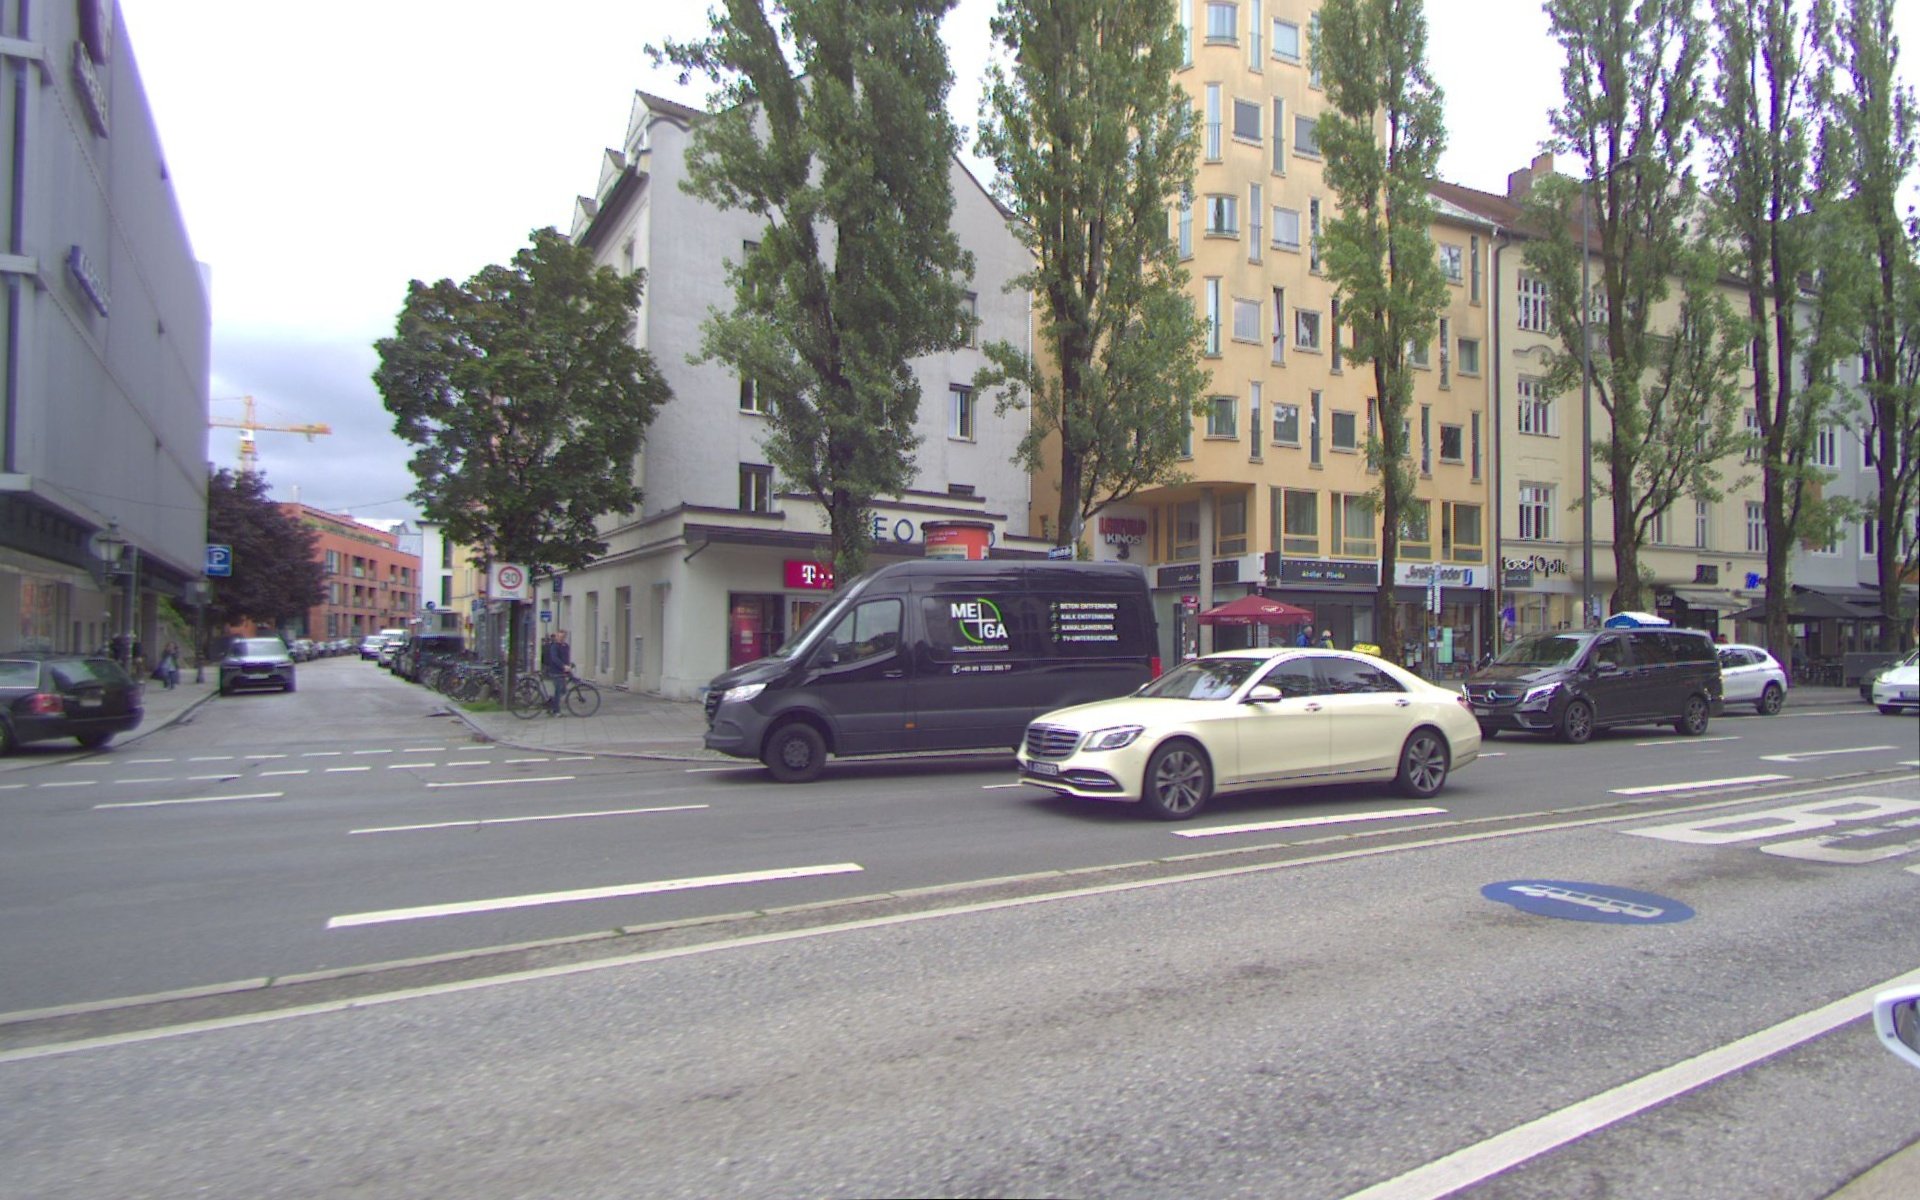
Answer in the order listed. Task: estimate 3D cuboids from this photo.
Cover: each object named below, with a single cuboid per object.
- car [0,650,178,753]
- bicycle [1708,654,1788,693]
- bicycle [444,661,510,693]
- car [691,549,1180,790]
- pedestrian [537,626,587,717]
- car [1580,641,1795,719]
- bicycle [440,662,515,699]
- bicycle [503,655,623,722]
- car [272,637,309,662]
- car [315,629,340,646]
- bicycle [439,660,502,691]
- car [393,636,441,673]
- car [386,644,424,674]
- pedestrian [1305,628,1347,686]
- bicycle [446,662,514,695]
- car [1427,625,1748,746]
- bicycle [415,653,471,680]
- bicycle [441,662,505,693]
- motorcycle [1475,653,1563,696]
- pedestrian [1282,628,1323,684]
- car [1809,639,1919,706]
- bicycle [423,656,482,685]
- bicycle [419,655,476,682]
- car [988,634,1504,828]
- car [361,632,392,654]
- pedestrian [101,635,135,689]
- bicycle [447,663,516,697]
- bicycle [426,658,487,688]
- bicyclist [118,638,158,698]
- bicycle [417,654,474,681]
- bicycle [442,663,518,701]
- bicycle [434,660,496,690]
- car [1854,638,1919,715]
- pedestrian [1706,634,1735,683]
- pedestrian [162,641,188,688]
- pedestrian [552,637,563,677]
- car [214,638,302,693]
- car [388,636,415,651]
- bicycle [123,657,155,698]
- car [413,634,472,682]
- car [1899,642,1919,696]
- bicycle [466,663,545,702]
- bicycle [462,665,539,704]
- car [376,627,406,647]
[{"bbox_3d":[-15.032,1.525,15.604,4.416,1.458,1.930,0,-2,6],"label":"car"},{"bbox_3d":[24.143,2.236,30.822,0.496,1.115,2.129,0,-3,-10],"label":"bicycle"},{"bbox_3d":[-15.271,2.419,31.778,1.859,0.976,0.456,1,-2,-31],"label":"bicycle"},{"bbox_3d":[-0.320,0.838,13.031,5.970,2.639,2.168,1,-2,-19],"label":"car"},{"bbox_3d":[-8.625,1.531,21.764,0.824,1.923,0.852,1,-3,-33],"label":"pedestrian"},{"bbox_3d":[16.662,1.779,23.034,4.317,1.650,1.990,1,-3,-22],"label":"car"},{"bbox_3d":[-13.614,2.253,28.355,1.859,0.976,0.456,1,-2,-31],"label":"bicycle"},{"bbox_3d":[-8.298,1.819,21.020,2.274,1.325,0.843,1,-3,-28],"label":"bicycle"},{"bbox_3d":[-46.331,3.405,69.564,1.830,1.684,4.204,1,-2,-30],"label":"car"},{"bbox_3d":[-60.923,3.619,96.832,1.830,1.684,4.204,1,-2,-30],"label":"car"},{"bbox_3d":[-16.357,2.525,33.613,1.859,0.976,0.456,1,-2,-31],"label":"bicycle"},{"bbox_3d":[-27.472,2.724,50.754,1.977,1.752,4.204,1,-2,-30],"label":"car"},{"bbox_3d":[-34.903,3.669,63.104,1.977,1.843,4.204,1,-2,-30],"label":"car"},{"bbox_3d":[10.707,1.667,29.378,0.753,1.647,0.837,2,-1,-25],"label":"pedestrian"},{"bbox_3d":[-14.832,2.417,31.063,1.859,0.976,0.456,1,-2,-31],"label":"bicycle"},{"bbox_3d":[11.162,1.453,17.815,5.632,1.887,1.989,1,-4,-24],"label":"car"},{"bbox_3d":[-19.776,2.527,38.419,1.859,0.976,0.456,1,-2,-31],"label":"bicycle"},{"bbox_3d":[-15.870,2.521,32.760,1.859,0.976,0.456,1,-2,-31],"label":"bicycle"},{"bbox_3d":[15.094,1.997,27.162,0.483,1.050,2.036,2,-1,-43],"label":"motorcycle"},{"bbox_3d":[10.292,1.672,30.192,0.753,1.647,0.837,2,-1,-25],"label":"pedestrian"},{"bbox_3d":[24.741,1.865,26.544,4.109,1.650,1.858,1,-3,-23],"label":"car"},{"bbox_3d":[-18.170,2.523,36.008,1.859,0.976,0.456,1,-2,-31],"label":"bicycle"},{"bbox_3d":[-18.984,2.525,37.207,1.859,0.976,0.456,1,-2,-31],"label":"bicycle"},{"bbox_3d":[3.008,1.193,10.406,5.126,1.609,1.988,1,-4,-26],"label":"car"},{"bbox_3d":[-47.003,3.467,80.978,1.975,1.729,4.208,1,-2,-28],"label":"car"},{"bbox_3d":[-26.823,1.954,32.007,0.747,1.694,0.709,2,-3,-39],"label":"pedestrian"},{"bbox_3d":[-14.584,2.414,30.607,1.859,0.976,0.456,1,-2,-31],"label":"bicycle"},{"bbox_3d":[-17.412,2.519,34.760,1.859,0.976,0.456,1,-2,-31],"label":"bicycle"},{"bbox_3d":[-23.334,1.917,28.526,0.708,1.694,0.747,1,-2,-30],"label":"bicyclist"},{"bbox_3d":[-19.305,2.526,37.704,1.859,0.976,0.456,1,-2,-31],"label":"bicycle"},{"bbox_3d":[-13.216,2.250,27.664,1.859,0.976,0.456,1,-2,-31],"label":"bicycle"},{"bbox_3d":[-16.798,2.522,34.091,1.859,0.976,0.456,1,-2,-31],"label":"bicycle"},{"bbox_3d":[22.875,1.704,22.890,4.571,1.672,1.989,1,-3,-24],"label":"car"},{"bbox_3d":[27.691,2.114,36.566,0.744,1.770,0.537,1,-1,-23],"label":"pedestrian"},{"bbox_3d":[-25.555,2.085,32.697,0.607,1.525,0.559,1,-2,-34],"label":"pedestrian"},{"bbox_3d":[-15.551,2.182,38.784,0.346,1.533,0.308,1,-2,-32],"label":"pedestrian"},{"bbox_3d":[-22.858,2.084,32.865,1.977,1.683,4.204,1,-2,-30],"label":"car"},{"bbox_3d":[-64.028,4.949,115.267,1.968,1.683,3.985,1,-2,-18],"label":"car"},{"bbox_3d":[-23.362,2.188,28.600,0.349,1.094,1.677,1,-2,-28],"label":"bicycle"},{"bbox_3d":[-21.673,2.378,41.977,1.977,1.888,4.204,1,-2,-30],"label":"car"},{"bbox_3d":[29.101,1.948,28.545,4.234,1.513,1.936,1,-2,-23],"label":"car"},{"bbox_3d":[-11.972,2.172,26.509,1.859,0.976,0.456,1,-2,-31],"label":"bicycle"},{"bbox_3d":[-12.336,2.261,26.989,1.859,0.976,0.456,1,-2,-31],"label":"bicycle"},{"bbox_3d":[-51.883,3.361,91.639,2.050,1.729,4.212,1,-2,-25],"label":"car"}]
